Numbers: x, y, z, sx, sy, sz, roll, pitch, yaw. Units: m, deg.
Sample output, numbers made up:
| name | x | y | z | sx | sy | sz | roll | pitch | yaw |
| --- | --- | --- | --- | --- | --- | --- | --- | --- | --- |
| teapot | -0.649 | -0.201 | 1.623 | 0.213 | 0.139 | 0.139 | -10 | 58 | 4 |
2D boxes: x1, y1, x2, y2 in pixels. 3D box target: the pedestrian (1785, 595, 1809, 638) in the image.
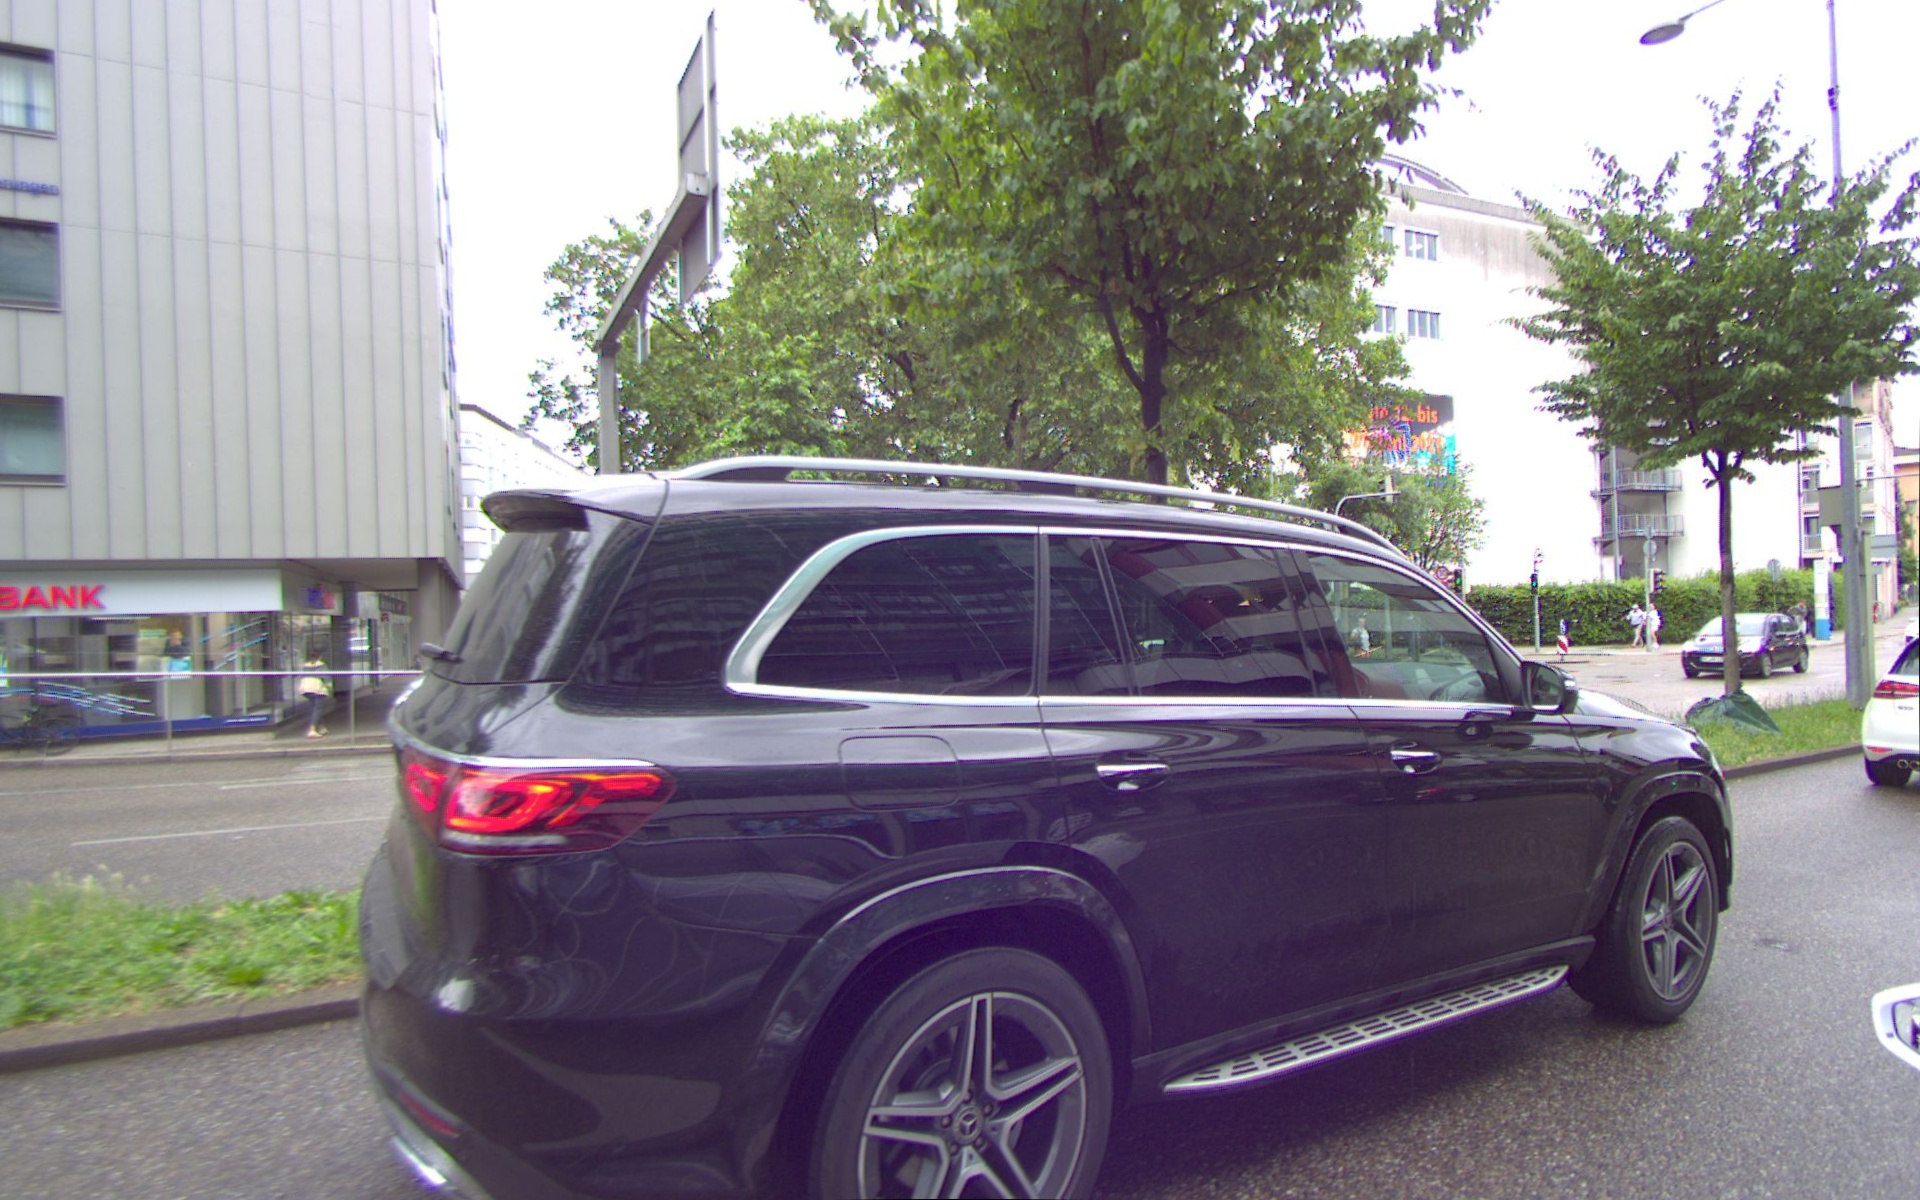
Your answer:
| name | x | y | z | sx | sy | sz | roll | pitch | yaw |
| --- | --- | --- | --- | --- | --- | --- | --- | --- | --- |
| pedestrian | 35.569 | 0.718 | 42.703 | 0.587 | 1.787 | 0.637 | 2 | -2 | -36 |

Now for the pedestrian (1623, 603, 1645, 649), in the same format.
| name | x | y | z | sx | sy | sz | roll | pitch | yaw |
| --- | --- | --- | --- | --- | --- | --- | --- | --- | --- |
| pedestrian | 26.881 | 1.028 | 40.063 | 0.586 | 1.788 | 0.523 | -1 | 2 | -34 |

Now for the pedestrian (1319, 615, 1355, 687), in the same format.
| name | x | y | z | sx | sy | sz | roll | pitch | yaw |
| --- | --- | --- | --- | --- | --- | --- | --- | --- | --- |
| pedestrian | 9.560 | 1.284 | 25.474 | 0.409 | 1.787 | 0.668 | -3 | 0 | -41 |

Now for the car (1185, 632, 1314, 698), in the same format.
| name | x | y | z | sx | sy | sz | roll | pitch | yaw |
| --- | --- | --- | --- | --- | --- | --- | --- | --- | --- |
| car | 6.930 | 1.546 | 24.548 | 1.895 | 1.414 | 4.428 | -1 | -2 | 1 |

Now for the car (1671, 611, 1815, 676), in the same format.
| name | x | y | z | sx | sy | sz | roll | pitch | yaw |
| --- | --- | --- | --- | --- | --- | --- | --- | --- | --- |
| car | 19.682 | 1.075 | 25.213 | 3.837 | 1.510 | 1.610 | 0 | -4 | -33 |

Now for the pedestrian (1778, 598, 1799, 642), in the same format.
| name | x | y | z | sx | sy | sz | roll | pitch | yaw |
| --- | --- | --- | --- | --- | --- | --- | --- | --- | --- |
| pedestrian | 34.380 | 0.835 | 41.666 | 0.624 | 1.787 | 0.523 | 2 | -2 | -36 |

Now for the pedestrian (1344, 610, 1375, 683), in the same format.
| name | x | y | z | sx | sy | sz | roll | pitch | yaw |
| --- | --- | --- | --- | --- | --- | --- | --- | --- | --- |
| pedestrian | 10.369 | 1.198 | 26.070 | 0.670 | 1.861 | 0.443 | 2 | -3 | -37 |

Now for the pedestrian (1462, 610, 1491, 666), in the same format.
| name | x | y | z | sx | sy | sz | roll | pitch | yaw |
| --- | --- | --- | --- | --- | --- | --- | --- | --- | --- |
| pedestrian | 16.675 | 1.242 | 32.458 | 0.587 | 1.787 | 0.642 | 2 | -2 | -37 |

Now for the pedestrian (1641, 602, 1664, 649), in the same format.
| name | x | y | z | sx | sy | sz | roll | pitch | yaw |
| --- | --- | --- | --- | --- | --- | --- | --- | --- | --- |
| pedestrian | 27.212 | 0.997 | 39.468 | 0.586 | 1.788 | 0.523 | 0 | 2 | -34 |

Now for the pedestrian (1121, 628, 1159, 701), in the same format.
| name | x | y | z | sx | sy | sz | roll | pitch | yaw |
| --- | --- | --- | --- | --- | --- | --- | --- | --- | --- |
| pedestrian | 4.805 | 1.717 | 26.868 | 0.844 | 1.931 | 0.827 | 1 | -2 | -1 |

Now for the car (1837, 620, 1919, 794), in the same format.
| name | x | y | z | sx | sy | sz | roll | pitch | yaw |
| --- | --- | --- | --- | --- | --- | --- | --- | --- | --- |
| car | 9.823 | 0.923 | 9.124 | 3.956 | 1.428 | 1.755 | 1 | 1 | -33 |

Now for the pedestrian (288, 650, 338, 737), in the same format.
| name | x | y | z | sx | sy | sz | roll | pitch | yaw |
| --- | --- | --- | --- | --- | --- | --- | --- | --- | --- |
| pedestrian | -13.151 | 1.885 | 20.445 | 0.718 | 1.740 | 0.595 | 2 | -3 | -25 |

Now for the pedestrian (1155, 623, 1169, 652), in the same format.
| name | x | y | z | sx | sy | sz | roll | pitch | yaw |
| --- | --- | --- | --- | --- | --- | --- | --- | --- | --- |
| pedestrian | 11.460 | 2.124 | 57.102 | 0.522 | 1.621 | 0.555 | -1 | -1 | -26 |

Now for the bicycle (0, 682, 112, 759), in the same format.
| name | x | y | z | sx | sy | sz | roll | pitch | yaw |
| --- | --- | --- | --- | --- | --- | --- | --- | --- | --- |
| bicycle | -17.050 | 2.186 | 18.150 | 2.544 | 1.282 | 0.682 | 0 | -1 | -30 |

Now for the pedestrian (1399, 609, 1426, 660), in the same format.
| name | x | y | z | sx | sy | sz | roll | pitch | yaw |
| --- | --- | --- | --- | --- | --- | --- | --- | --- | --- |
| pedestrian | 16.347 | 1.257 | 36.303 | 0.778 | 1.804 | 0.653 | 0 | -2 | 13 |

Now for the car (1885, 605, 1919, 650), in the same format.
| name | x | y | z | sx | sy | sz | roll | pitch | yaw |
| --- | --- | --- | --- | --- | --- | --- | --- | --- | --- |
| car | 34.199 | 0.929 | 35.236 | 3.603 | 1.535 | 1.663 | 0 | -3 | -32 |

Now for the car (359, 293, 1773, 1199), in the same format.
| name | x | y | z | sx | sy | sz | roll | pitch | yaw |
| --- | --- | --- | --- | --- | --- | --- | --- | --- | --- |
| car | 0.691 | 0.522 | 3.599 | 4.832 | 1.801 | 1.983 | 2 | 0 | -32 |

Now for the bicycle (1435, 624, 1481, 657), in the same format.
| name | x | y | z | sx | sy | sz | roll | pitch | yaw |
| --- | --- | --- | --- | --- | --- | --- | --- | --- | --- |
| bicycle | 17.858 | 1.441 | 36.017 | 2.039 | 1.125 | 0.645 | -1 | -1 | -38 |
